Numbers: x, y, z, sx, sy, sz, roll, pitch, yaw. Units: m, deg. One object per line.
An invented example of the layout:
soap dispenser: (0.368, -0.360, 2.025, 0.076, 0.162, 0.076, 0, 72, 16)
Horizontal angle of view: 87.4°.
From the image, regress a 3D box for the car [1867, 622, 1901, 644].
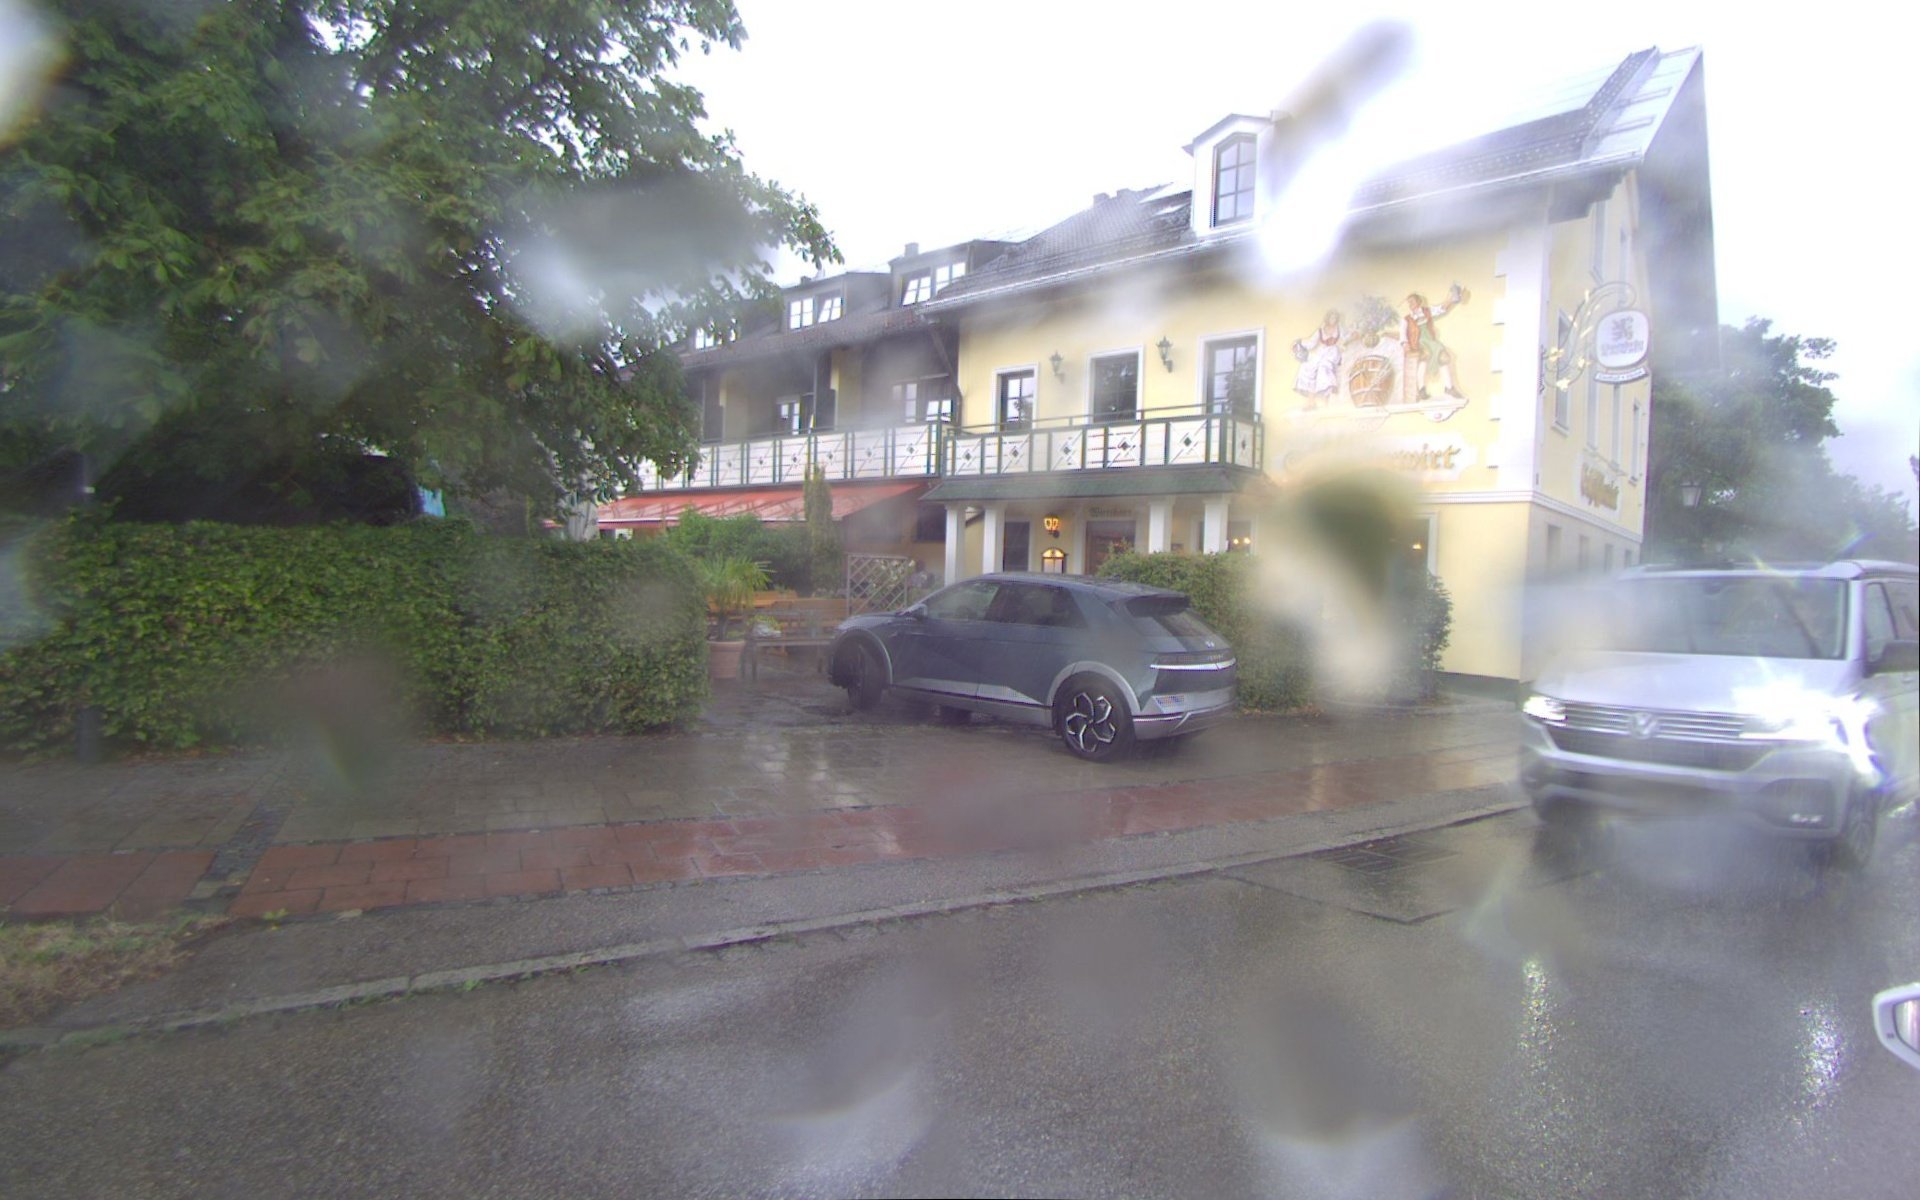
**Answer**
car: (90.450, 3.221, 98.356, 2.143, 1.925, 4.989, 3, 2, 40)

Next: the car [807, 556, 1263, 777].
car: (0.610, 0.472, 10.409, 4.421, 1.589, 1.830, 6, 6, 39)

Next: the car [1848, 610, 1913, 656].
car: (37.639, 1.343, 41.160, 1.841, 1.781, 4.459, -2, -2, 42)

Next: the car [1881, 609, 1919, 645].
car: (56.301, 1.574, 59.613, 2.143, 1.925, 4.989, 3, 2, 40)

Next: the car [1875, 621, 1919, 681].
car: (24.889, 1.272, 25.783, 1.840, 1.377, 4.462, 0, 0, 40)

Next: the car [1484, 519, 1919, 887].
car: (6.033, 0.630, 7.609, 4.658, 1.997, 1.837, 2, -1, -37)

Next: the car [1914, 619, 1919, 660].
car: (49.111, 2.021, 49.897, 2.143, 1.925, 4.989, 3, 2, 40)
